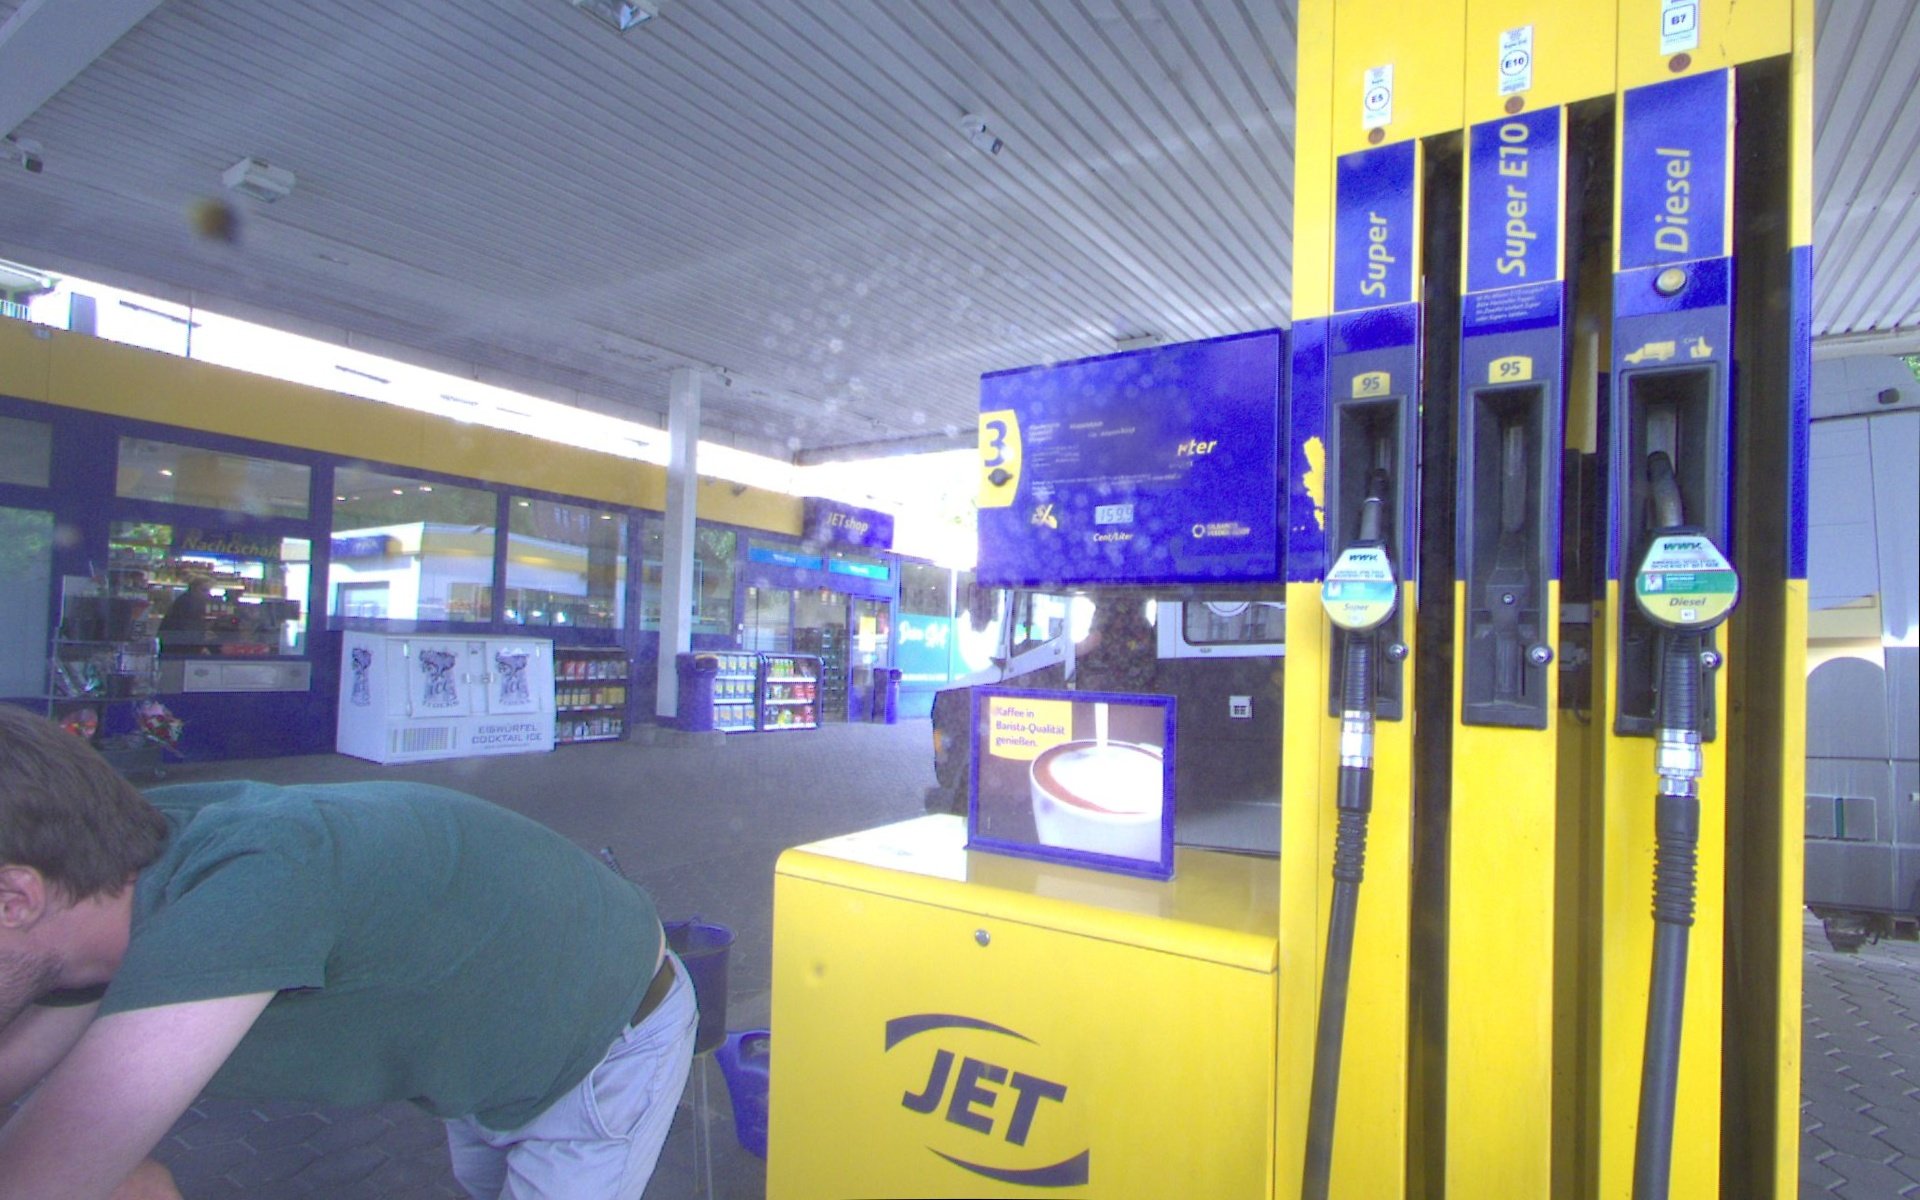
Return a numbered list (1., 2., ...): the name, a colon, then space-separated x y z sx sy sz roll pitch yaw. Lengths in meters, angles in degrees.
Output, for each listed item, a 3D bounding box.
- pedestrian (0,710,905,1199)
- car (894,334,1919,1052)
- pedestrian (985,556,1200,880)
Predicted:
1. pedestrian: -0.541 0.805 1.080 0.664 1.298 0.749 -1 -1 31
2. car: 2.382 0.410 6.025 5.219 2.724 2.250 0 -3 34
3. pedestrian: 0.788 0.674 6.171 0.964 1.785 0.978 1 -1 -22
